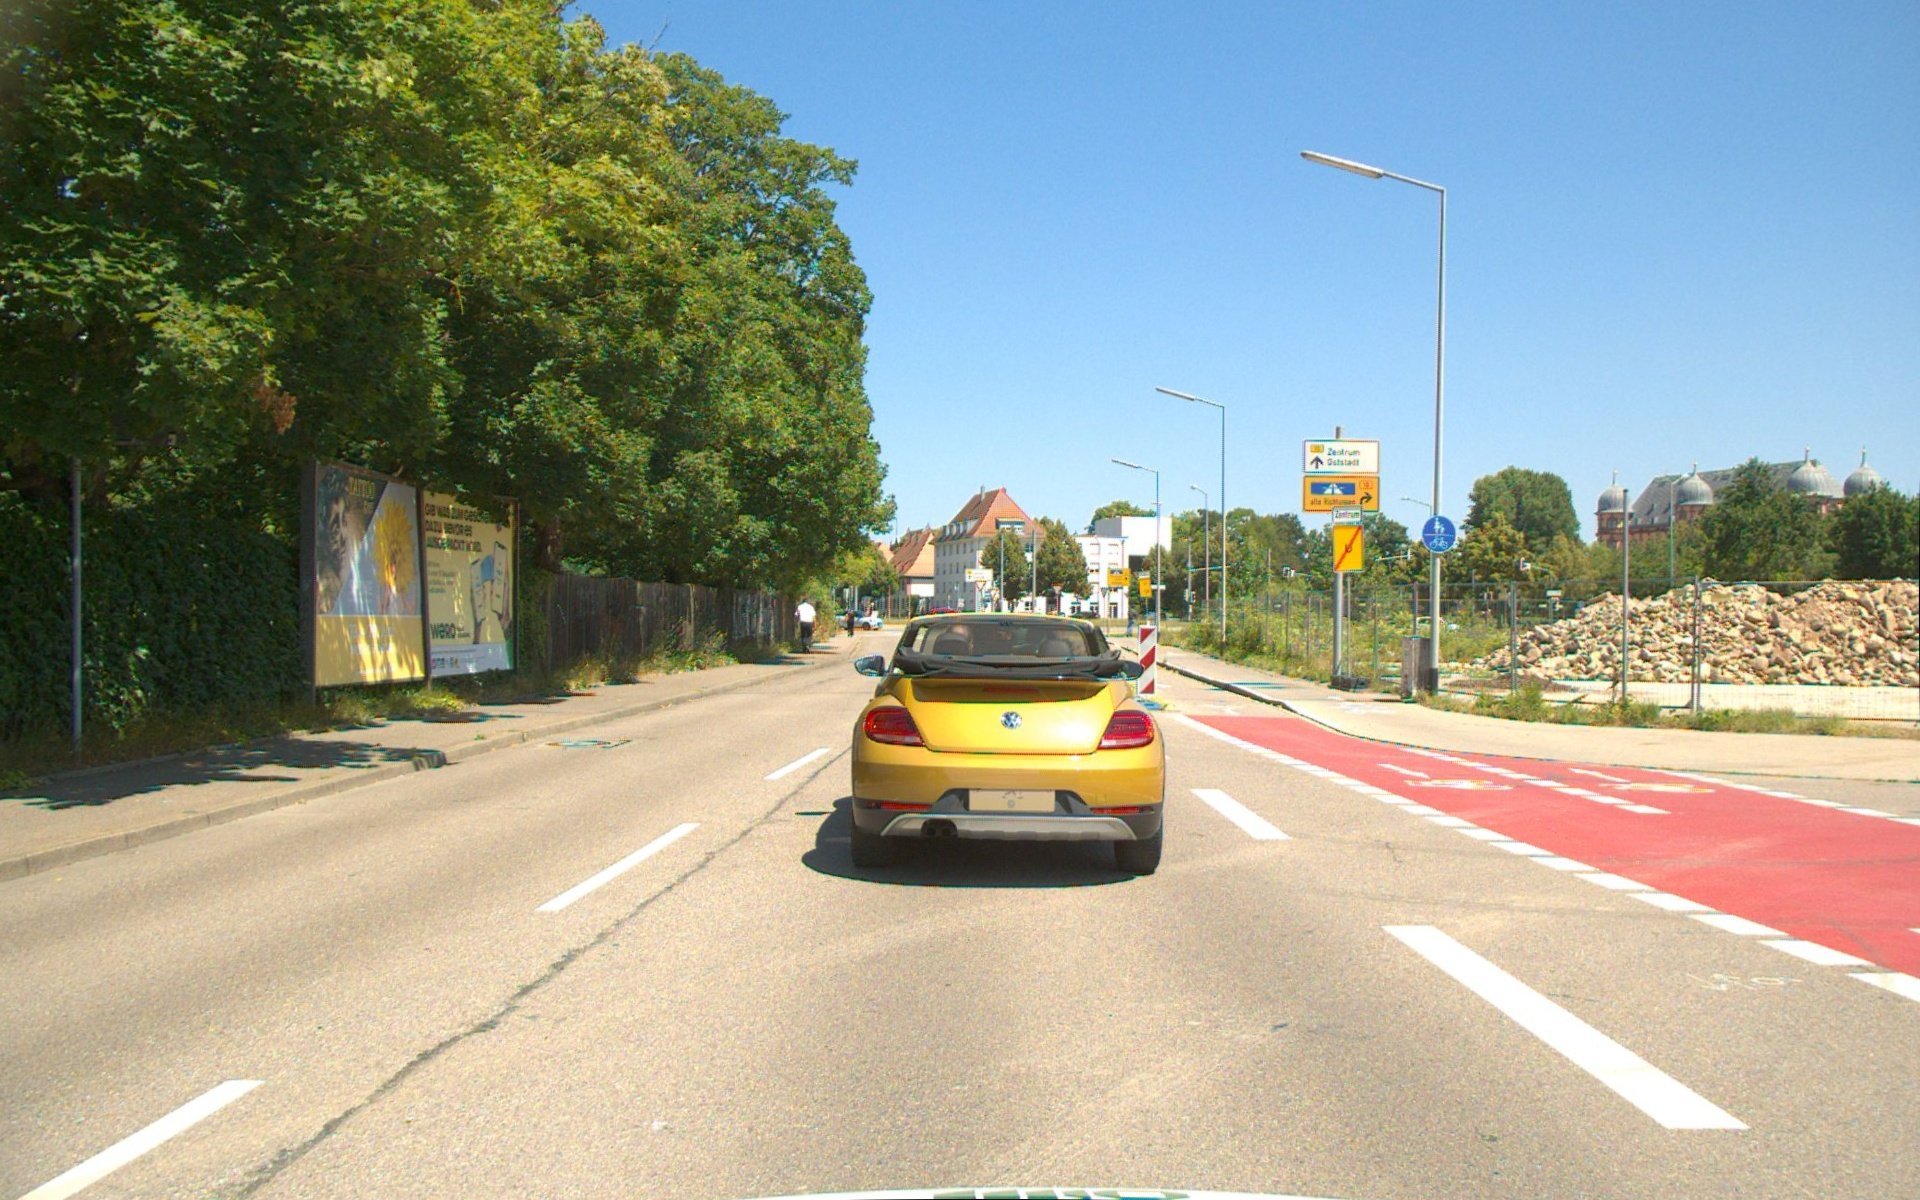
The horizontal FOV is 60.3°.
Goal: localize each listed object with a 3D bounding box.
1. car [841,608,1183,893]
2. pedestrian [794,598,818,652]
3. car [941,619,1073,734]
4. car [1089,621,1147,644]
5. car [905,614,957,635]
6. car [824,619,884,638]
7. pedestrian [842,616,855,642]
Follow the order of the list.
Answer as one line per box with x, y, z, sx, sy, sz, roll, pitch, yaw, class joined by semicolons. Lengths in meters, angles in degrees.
0.293;0.785;10.414;1.753;1.462;3.814;0;0;1;car
-5.057;0.831;54.328;0.708;1.756;0.818;0;-1;-2;pedestrian
0.689;1.007;23.243;1.690;1.468;4.001;0;-1;2;car
11.125;2.276;116.588;3.902;1.641;1.792;0;-1;13;car
-2.298;1.960;131.972;3.977;1.706;1.786;0;-1;8;car
-8.041;2.161;125.637;4.345;1.382;1.538;0;-1;8;car
-6.210;1.608;92.356;0.708;1.480;0.818;0;-1;-2;pedestrian
